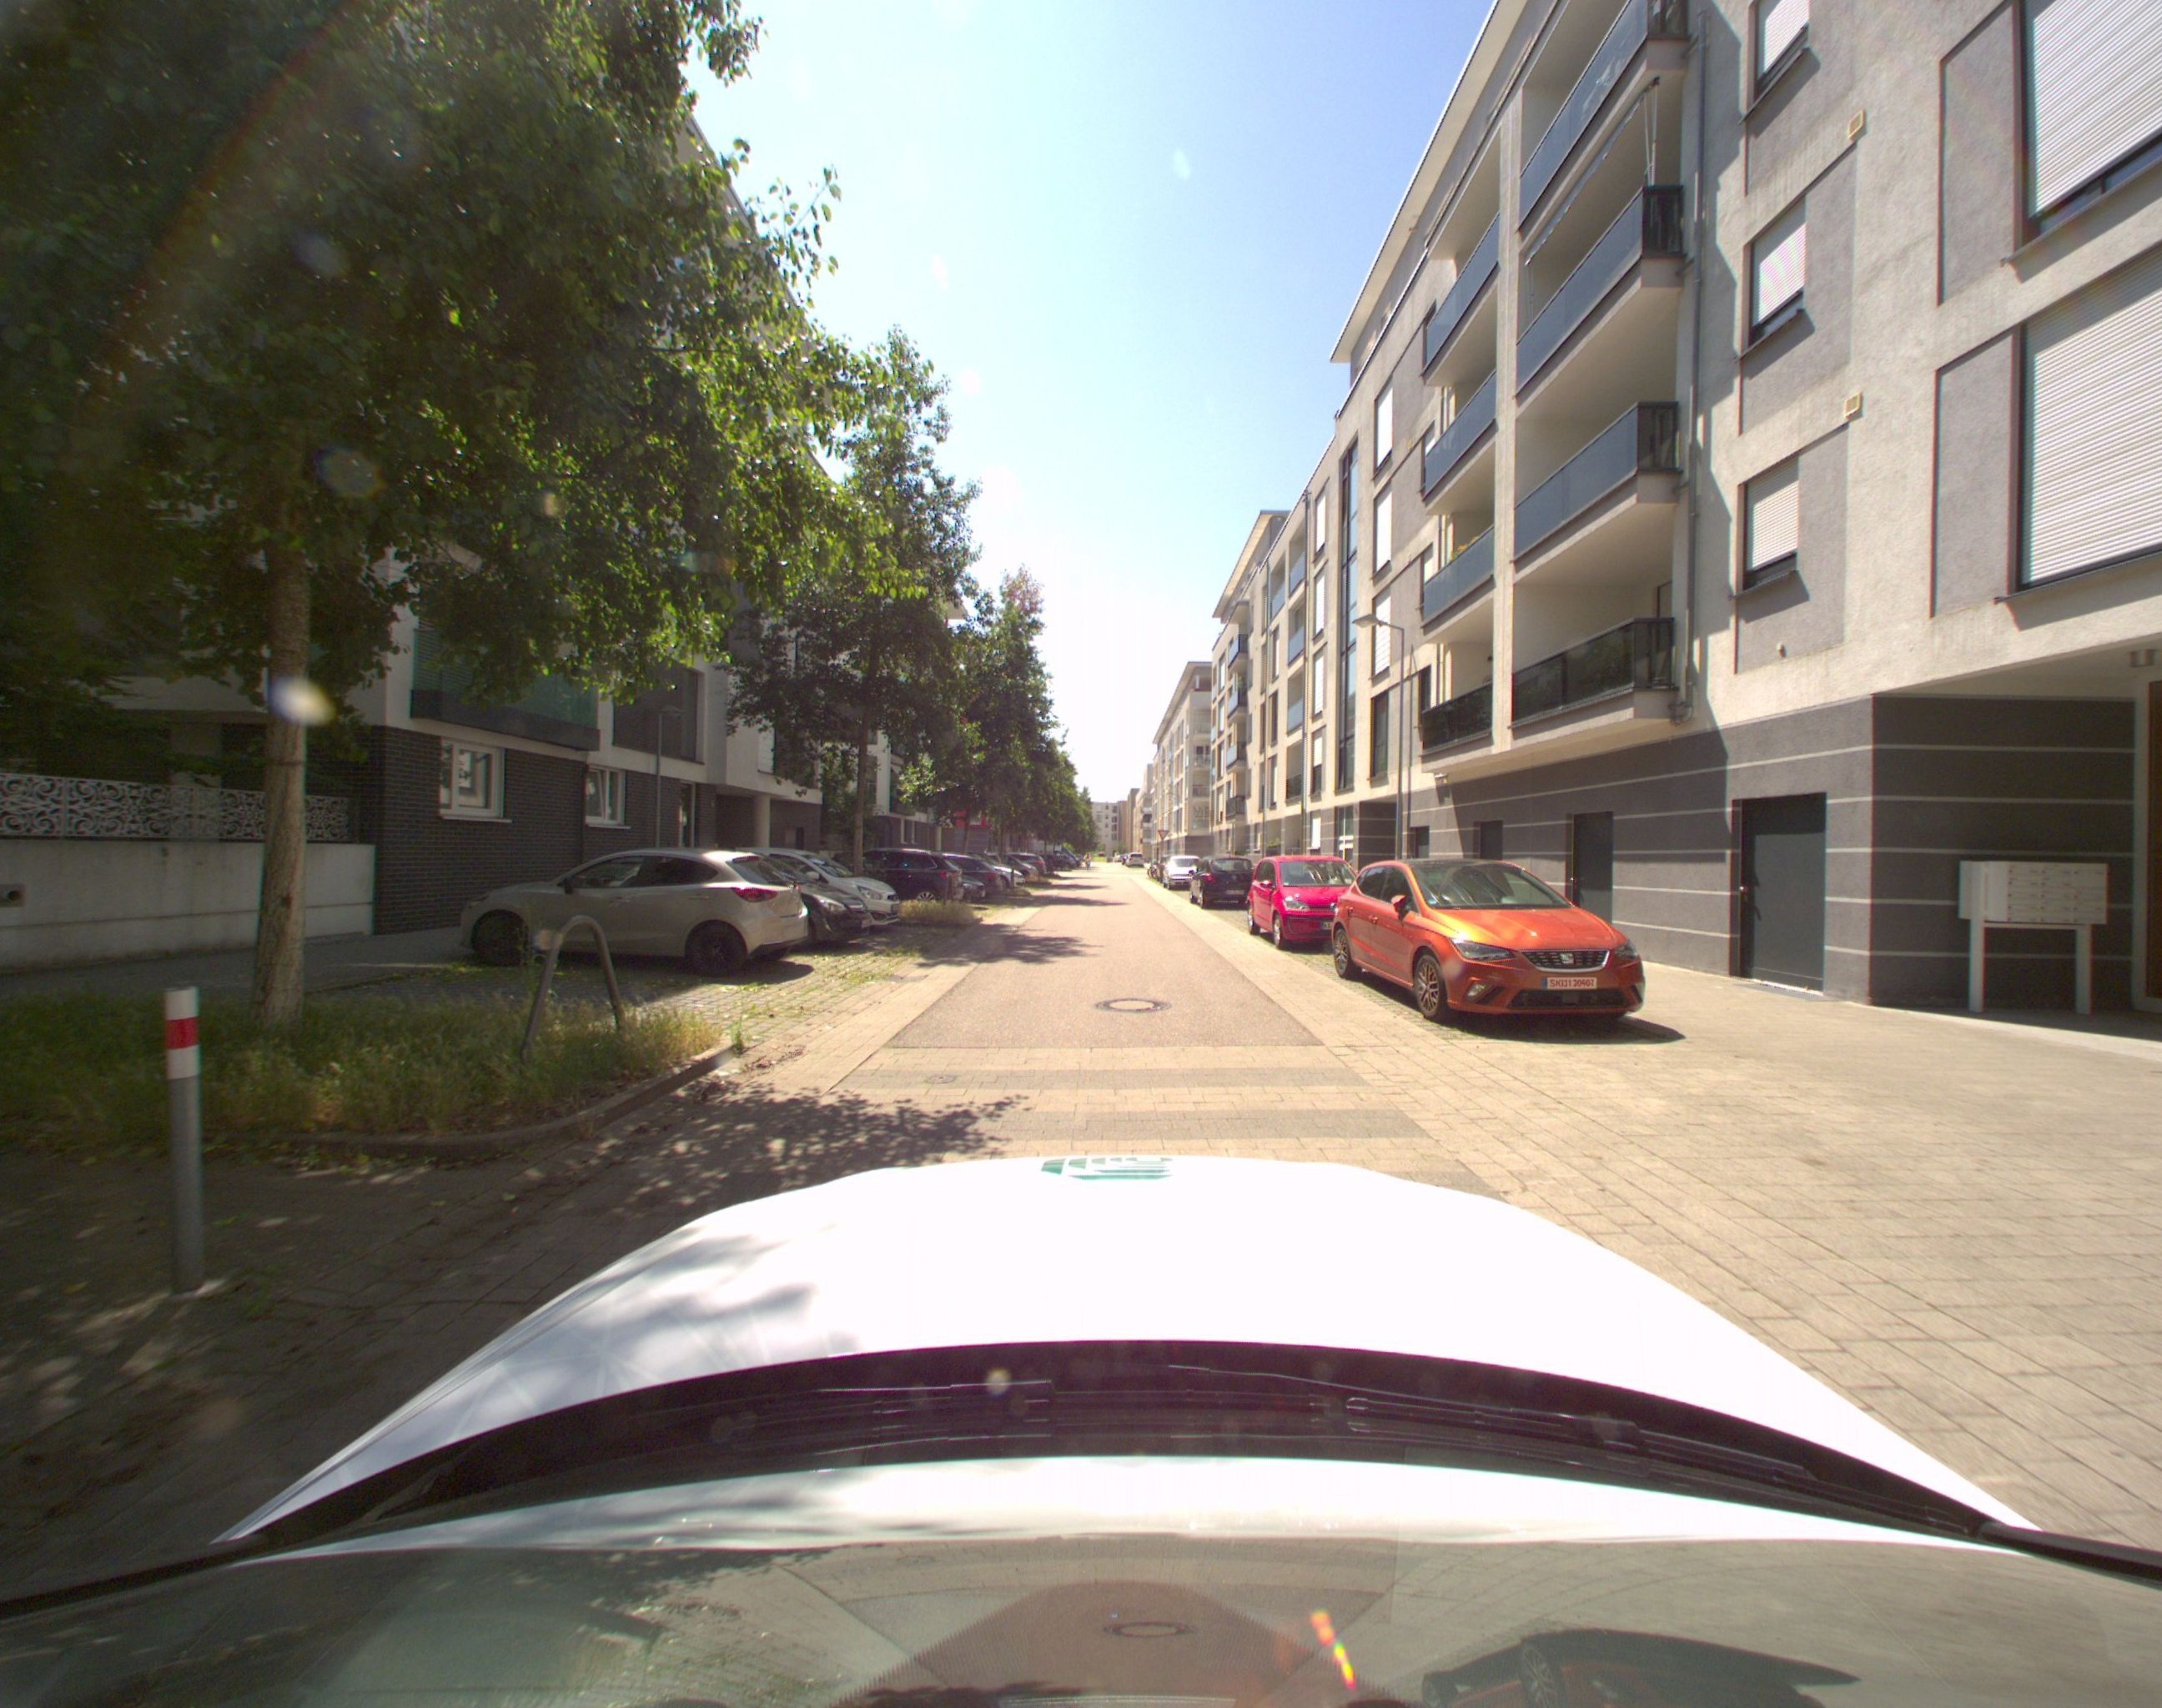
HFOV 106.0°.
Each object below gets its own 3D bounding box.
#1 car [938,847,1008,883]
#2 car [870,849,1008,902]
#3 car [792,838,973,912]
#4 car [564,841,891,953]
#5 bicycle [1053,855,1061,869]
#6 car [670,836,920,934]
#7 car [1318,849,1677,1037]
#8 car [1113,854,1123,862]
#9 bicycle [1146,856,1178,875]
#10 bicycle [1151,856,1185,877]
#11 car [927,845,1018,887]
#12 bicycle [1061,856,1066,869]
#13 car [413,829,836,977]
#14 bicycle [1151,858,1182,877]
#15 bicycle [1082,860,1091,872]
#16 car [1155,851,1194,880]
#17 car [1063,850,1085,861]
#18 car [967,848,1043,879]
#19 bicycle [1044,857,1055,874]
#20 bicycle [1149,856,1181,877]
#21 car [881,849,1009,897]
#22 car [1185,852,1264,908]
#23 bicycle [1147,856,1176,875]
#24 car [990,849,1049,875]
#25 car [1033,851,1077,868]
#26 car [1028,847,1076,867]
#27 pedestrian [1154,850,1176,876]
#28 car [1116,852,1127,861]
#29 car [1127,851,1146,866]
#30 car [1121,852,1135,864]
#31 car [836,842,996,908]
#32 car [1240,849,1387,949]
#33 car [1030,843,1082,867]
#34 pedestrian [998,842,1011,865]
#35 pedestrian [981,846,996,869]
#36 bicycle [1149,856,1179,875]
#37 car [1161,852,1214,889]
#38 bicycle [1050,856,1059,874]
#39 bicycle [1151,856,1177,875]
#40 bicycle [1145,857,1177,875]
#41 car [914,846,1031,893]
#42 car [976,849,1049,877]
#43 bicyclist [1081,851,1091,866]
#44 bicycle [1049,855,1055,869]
[{"bbox_3d":[-5.009,0.511,37.962,2.923,1.500,1.848,3,0,0],"label":"car"},{"bbox_3d":[-4.350,0.655,25.411,3.965,1.445,1.774,2,0,-3],"label":"car"},{"bbox_3d":[-4.854,0.491,20.347,3.972,1.629,1.934,2,0,1],"label":"car"},{"bbox_3d":[-5.415,0.625,12.882,4.301,1.476,1.793,2,0,1],"label":"car"},{"bbox_3d":[-2.204,0.728,73.910,0.569,1.174,1.765,4,1,-5],"label":"bicycle"},{"bbox_3d":[-5.287,0.546,15.442,3.972,1.591,1.885,2,0,2],"label":"car"},{"bbox_3d":[3.941,0.707,8.638,1.731,1.487,4.260,-1,0,2],"label":"car"},{"bbox_3d":[8.451,0.856,186.987,1.987,1.717,4.000,1,0,0],"label":"car"},{"bbox_3d":[5.091,0.733,50.952,1.911,1.179,0.640,0,0,10],"label":"bicycle"},{"bbox_3d":[5.030,0.737,47.294,1.865,1.218,0.715,0,0,-3],"label":"bicycle"},{"bbox_3d":[-4.590,0.507,34.950,3.701,1.586,1.818,2,0,-4],"label":"car"},{"bbox_3d":[-1.609,0.787,74.119,0.464,1.141,1.925,0,0,-1],"label":"bicycle"},{"bbox_3d":[-5.607,0.567,10.438,4.237,1.517,1.925,3,0,0],"label":"car"},{"bbox_3d":[5.040,0.770,48.041,1.782,1.104,0.746,0,0,-3],"label":"bicycle"},{"bbox_3d":[0.520,1.164,78.493,0.895,1.129,2.040,0,0,1],"label":"bicycle"},{"bbox_3d":[4.950,0.589,43.649,1.732,1.485,4.230,0,0,2],"label":"car"},{"bbox_3d":[-1.286,0.244,155.511,3.965,2.013,2.004,1,0,8],"label":"car"},{"bbox_3d":[-4.172,0.526,45.113,3.924,1.553,1.872,2,0,0],"label":"car"},{"bbox_3d":[-2.152,0.782,55.388,0.434,1.128,1.971,0,0,-10],"label":"bicycle"},{"bbox_3d":[5.094,0.739,49.397,1.922,1.218,0.459,0,0,-8],"label":"bicycle"},{"bbox_3d":[-4.602,0.627,27.994,3.971,1.422,1.898,2,0,2],"label":"car"},{"bbox_3d":[4.114,0.693,23.909,1.637,1.462,4.118,-1,0,1],"label":"car"},{"bbox_3d":[5.151,0.728,52.344,1.851,1.193,0.688,0,0,4],"label":"bicycle"},{"bbox_3d":[-3.958,0.511,52.928,3.617,1.520,1.832,2,0,1],"label":"car"},{"bbox_3d":[-2.637,0.557,84.044,4.367,1.515,2.076,2,0,1],"label":"car"},{"bbox_3d":[-3.196,0.296,91.243,5.126,2.119,2.312,2,0,1],"label":"car"},{"bbox_3d":[5.099,0.547,49.525,1.178,1.515,0.686,0,0,-9],"label":"pedestrian"},{"bbox_3d":[7.841,0.473,159.759,1.987,1.675,4.000,1,0,0],"label":"car"},{"bbox_3d":[6.181,0.447,91.093,1.989,1.657,4.117,0,0,2],"label":"car"},{"bbox_3d":[6.390,0.528,111.208,1.749,1.552,4.005,1,0,5],"label":"car"},{"bbox_3d":[-4.537,0.554,22.869,3.970,1.651,1.920,2,0,3],"label":"car"},{"bbox_3d":[3.886,0.674,14.176,1.589,1.485,3.677,-1,0,2],"label":"car"},{"bbox_3d":[-2.914,0.086,96.672,6.002,2.816,2.606,0,0,1],"label":"car"},{"bbox_3d":[-6.906,-0.035,73.783,1.004,2.013,1.131,0,0,4],"label":"pedestrian"},{"bbox_3d":[-6.860,0.270,60.596,0.996,1.690,0.833,0,0,2],"label":"pedestrian"},{"bbox_3d":[5.098,0.722,49.981,1.838,1.148,0.458,0,0,-18],"label":"bicycle"},{"bbox_3d":[4.541,0.661,35.333,1.827,1.505,4.352,-1,0,2],"label":"car"},{"bbox_3d":[-1.791,0.756,55.410,0.371,1.180,1.814,0,0,-10],"label":"bicycle"},{"bbox_3d":[5.240,0.718,51.632,1.546,1.218,0.707,0,0,-1],"label":"bicycle"},{"bbox_3d":[4.975,0.748,50.349,1.911,1.133,0.611,0,0,10],"label":"bicycle"},{"bbox_3d":[-4.259,0.584,32.529,4.348,1.710,1.999,-1,0,-1],"label":"car"},{"bbox_3d":[-3.996,0.554,48.008,4.170,1.486,1.957,2,-1,-3],"label":"car"},{"bbox_3d":[0.495,0.462,78.407,0.950,1.459,0.800,0,0,1],"label":"bicyclist"},{"bbox_3d":[-2.635,0.693,73.923,0.432,1.204,1.701,2,1,2],"label":"bicycle"}]
